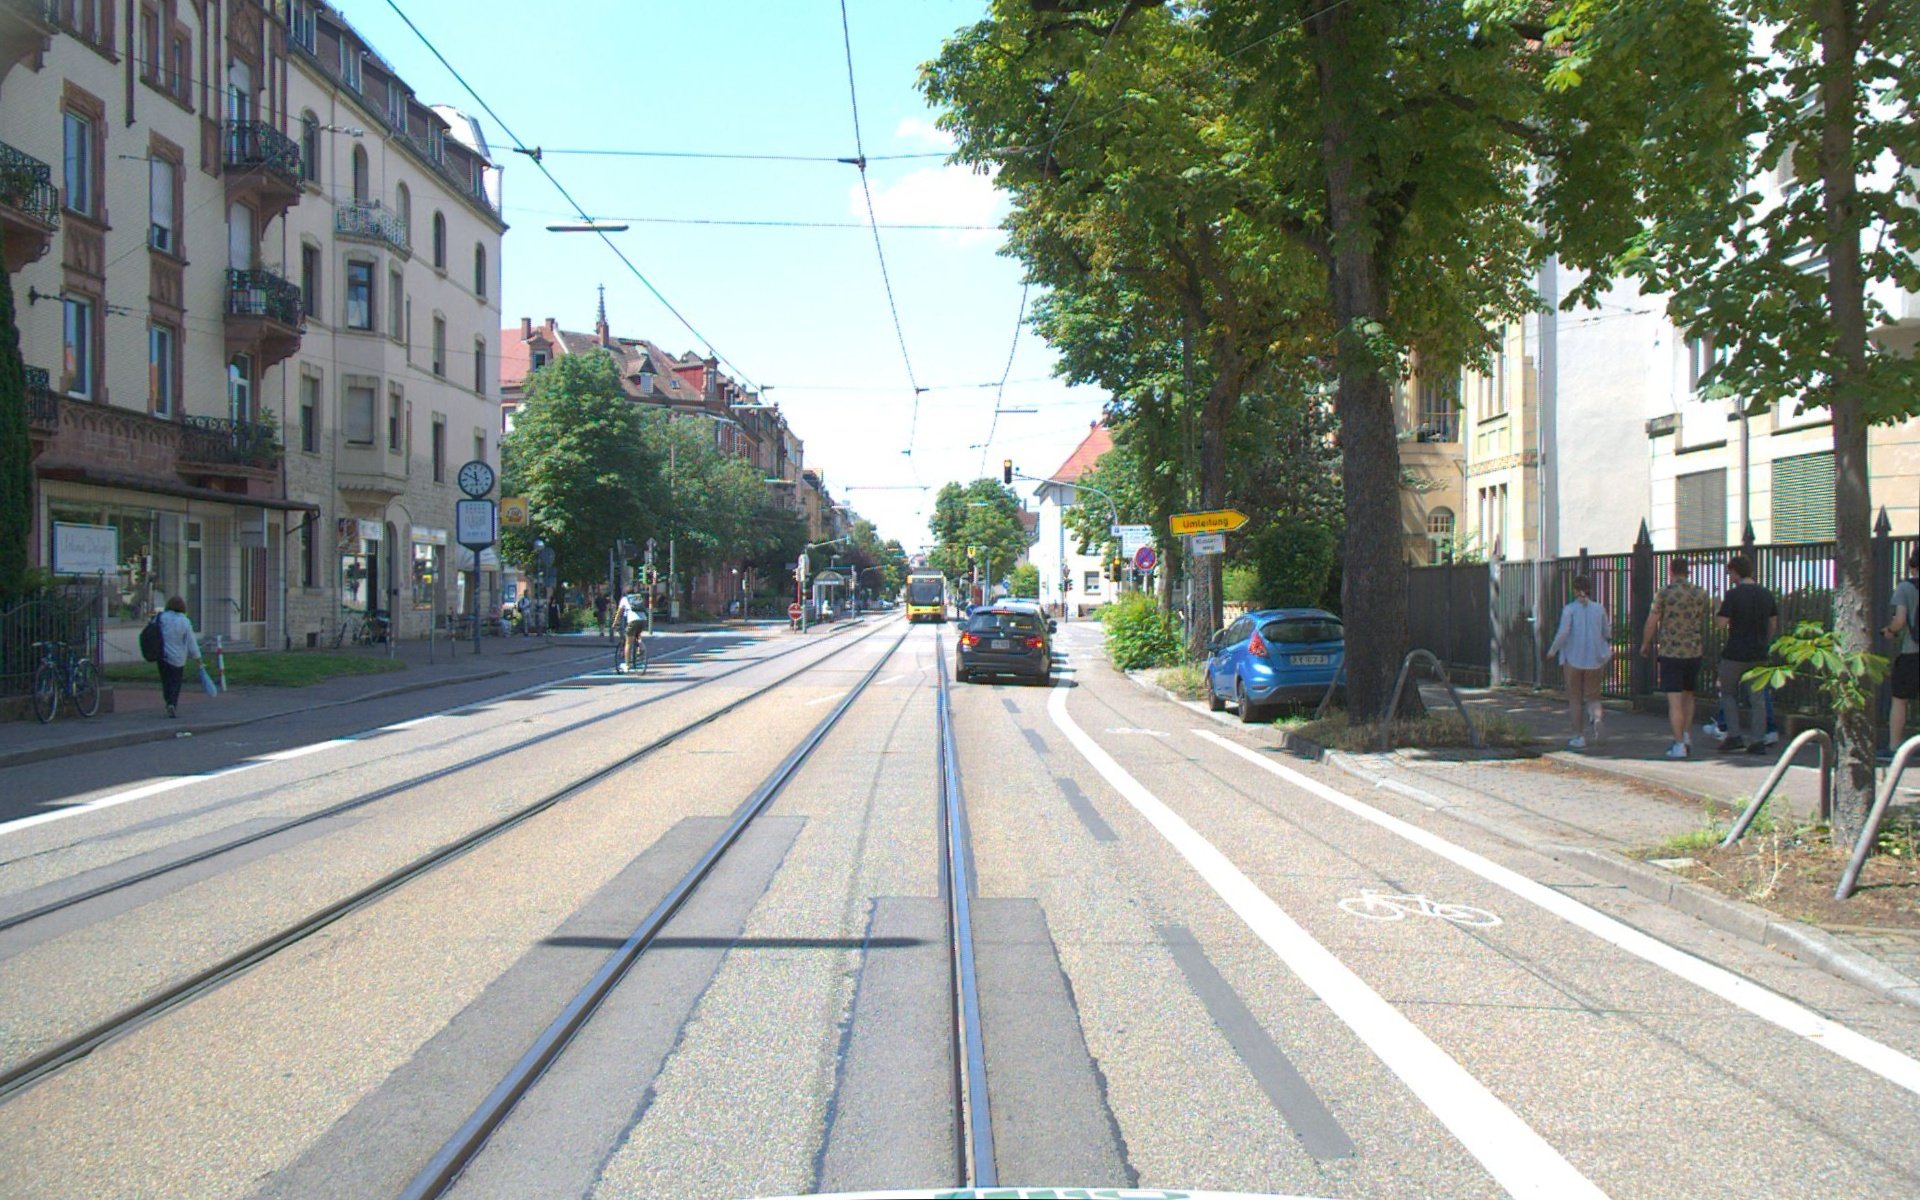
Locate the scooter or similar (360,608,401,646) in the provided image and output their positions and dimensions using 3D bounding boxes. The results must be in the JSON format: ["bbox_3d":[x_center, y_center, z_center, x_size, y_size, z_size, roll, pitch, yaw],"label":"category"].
[{"bbox_3d":[-16.615,0.771,47.406,0.690,1.062,1.192,2,-1,-41],"label":"scooter or similar"}]

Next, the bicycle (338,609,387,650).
[{"bbox_3d":[-16.401,0.815,45.433,0.362,1.084,1.464,1,-1,22],"label":"bicycle"}]

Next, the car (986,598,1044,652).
[{"bbox_3d":[1.722,0.733,50.655,1.656,1.540,3.822,2,0,3],"label":"car"}]

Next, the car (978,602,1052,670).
[{"bbox_3d":[1.270,0.808,38.773,1.650,1.510,3.685,0,0,1],"label":"car"}]

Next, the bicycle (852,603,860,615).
[{"bbox_3d":[-9.998,0.835,159.344,0.714,1.121,1.715,0,0,-1],"label":"bicycle"}]

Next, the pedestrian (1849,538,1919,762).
[{"bbox_3d":[8.160,0.409,14.004,0.670,1.829,1.084,0,0,-1],"label":"pedestrian"}]

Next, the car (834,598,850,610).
[{"bbox_3d":[-15.684,0.528,220.219,1.754,1.614,3.991,1,-1,-9],"label":"car"}]

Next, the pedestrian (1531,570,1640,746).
[{"bbox_3d":[6.164,0.558,16.346,0.750,1.680,0.974,0,0,4],"label":"pedestrian"}]

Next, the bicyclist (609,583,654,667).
[{"bbox_3d":[-6.747,0.509,33.977,0.745,1.692,0.825,2,-1,-21],"label":"bicyclist"}]

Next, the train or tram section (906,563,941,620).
[{"bbox_3d":[-2.364,-0.530,107.279,2.146,3.543,8.843,0,0,-1],"label":"train or tram section"}]

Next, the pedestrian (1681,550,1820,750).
[{"bbox_3d":[7.316,0.444,15.355,0.771,1.792,1.052,0,0,-1],"label":"pedestrian"}]

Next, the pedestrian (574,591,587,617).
[{"bbox_3d":[-26.723,0.260,116.579,0.730,1.843,0.634,0,0,-31],"label":"pedestrian"}]

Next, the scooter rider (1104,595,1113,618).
[{"bbox_3d":[11.199,0.493,124.355,0.579,1.716,0.528,0,0,-6],"label":"scooter rider"}]

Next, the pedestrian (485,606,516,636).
[{"bbox_3d":[-16.741,0.756,60.267,0.897,1.096,0.883,0,0,0],"label":"pedestrian"}]

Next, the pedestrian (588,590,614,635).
[{"bbox_3d":[-15.312,0.522,70.527,0.882,1.924,1.164,0,0,-2],"label":"pedestrian"}]

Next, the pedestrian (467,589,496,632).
[{"bbox_3d":[-18.043,0.401,62.389,0.898,1.622,0.808,0,0,-4],"label":"pedestrian"}]

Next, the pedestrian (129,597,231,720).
[{"bbox_3d":[-10.220,0.745,21.708,0.882,1.569,0.984,0,0,-1],"label":"pedestrian"}]

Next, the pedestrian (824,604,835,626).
[{"bbox_3d":[-7.573,0.841,95.757,0.602,1.264,0.627,0,0,-7],"label":"pedestrian"}]

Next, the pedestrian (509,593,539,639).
[{"bbox_3d":[-16.965,0.619,64.395,0.770,1.763,0.848,1,0,-45],"label":"pedestrian"}]

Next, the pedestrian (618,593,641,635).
[{"bbox_3d":[-14.026,0.600,70.263,0.899,1.753,0.839,0,0,-8],"label":"pedestrian"}]

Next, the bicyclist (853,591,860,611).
[{"bbox_3d":[-9.983,0.081,159.320,0.708,1.903,0.825,0,0,-3],"label":"bicyclist"}]

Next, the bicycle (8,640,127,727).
[{"bbox_3d":[-10.780,0.986,20.040,0.402,0.977,1.841,3,-1,-1],"label":"bicycle"}]

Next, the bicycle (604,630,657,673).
[{"bbox_3d":[-6.809,1.045,34.152,0.742,0.832,1.807,0,0,-23],"label":"bicycle"}]

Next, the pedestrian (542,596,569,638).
[{"bbox_3d":[-16.453,0.682,67.263,0.843,1.664,1.026,0,0,-2],"label":"pedestrian"}]

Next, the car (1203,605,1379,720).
[{"bbox_3d":[4.572,0.818,23.336,1.643,1.469,3.719,0,0,-2],"label":"car"}]

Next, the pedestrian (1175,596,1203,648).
[{"bbox_3d":[7.377,0.707,53.269,0.839,1.674,0.837,0,0,4],"label":"pedestrian"}]

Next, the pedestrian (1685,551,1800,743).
[{"bbox_3d":[7.733,0.449,16.379,0.647,1.843,0.977,0,0,-1],"label":"pedestrian"}]

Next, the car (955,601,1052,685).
[{"bbox_3d":[0.819,0.770,31.773,1.687,1.433,4.565,2,0,1],"label":"car"}]

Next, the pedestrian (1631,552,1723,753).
[{"bbox_3d":[6.672,0.473,15.428,0.690,1.807,0.947,0,0,18],"label":"pedestrian"}]

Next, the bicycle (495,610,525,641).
[{"bbox_3d":[-17.375,0.994,63.828,0.539,1.148,1.660,0,-2,-37],"label":"bicycle"}]
